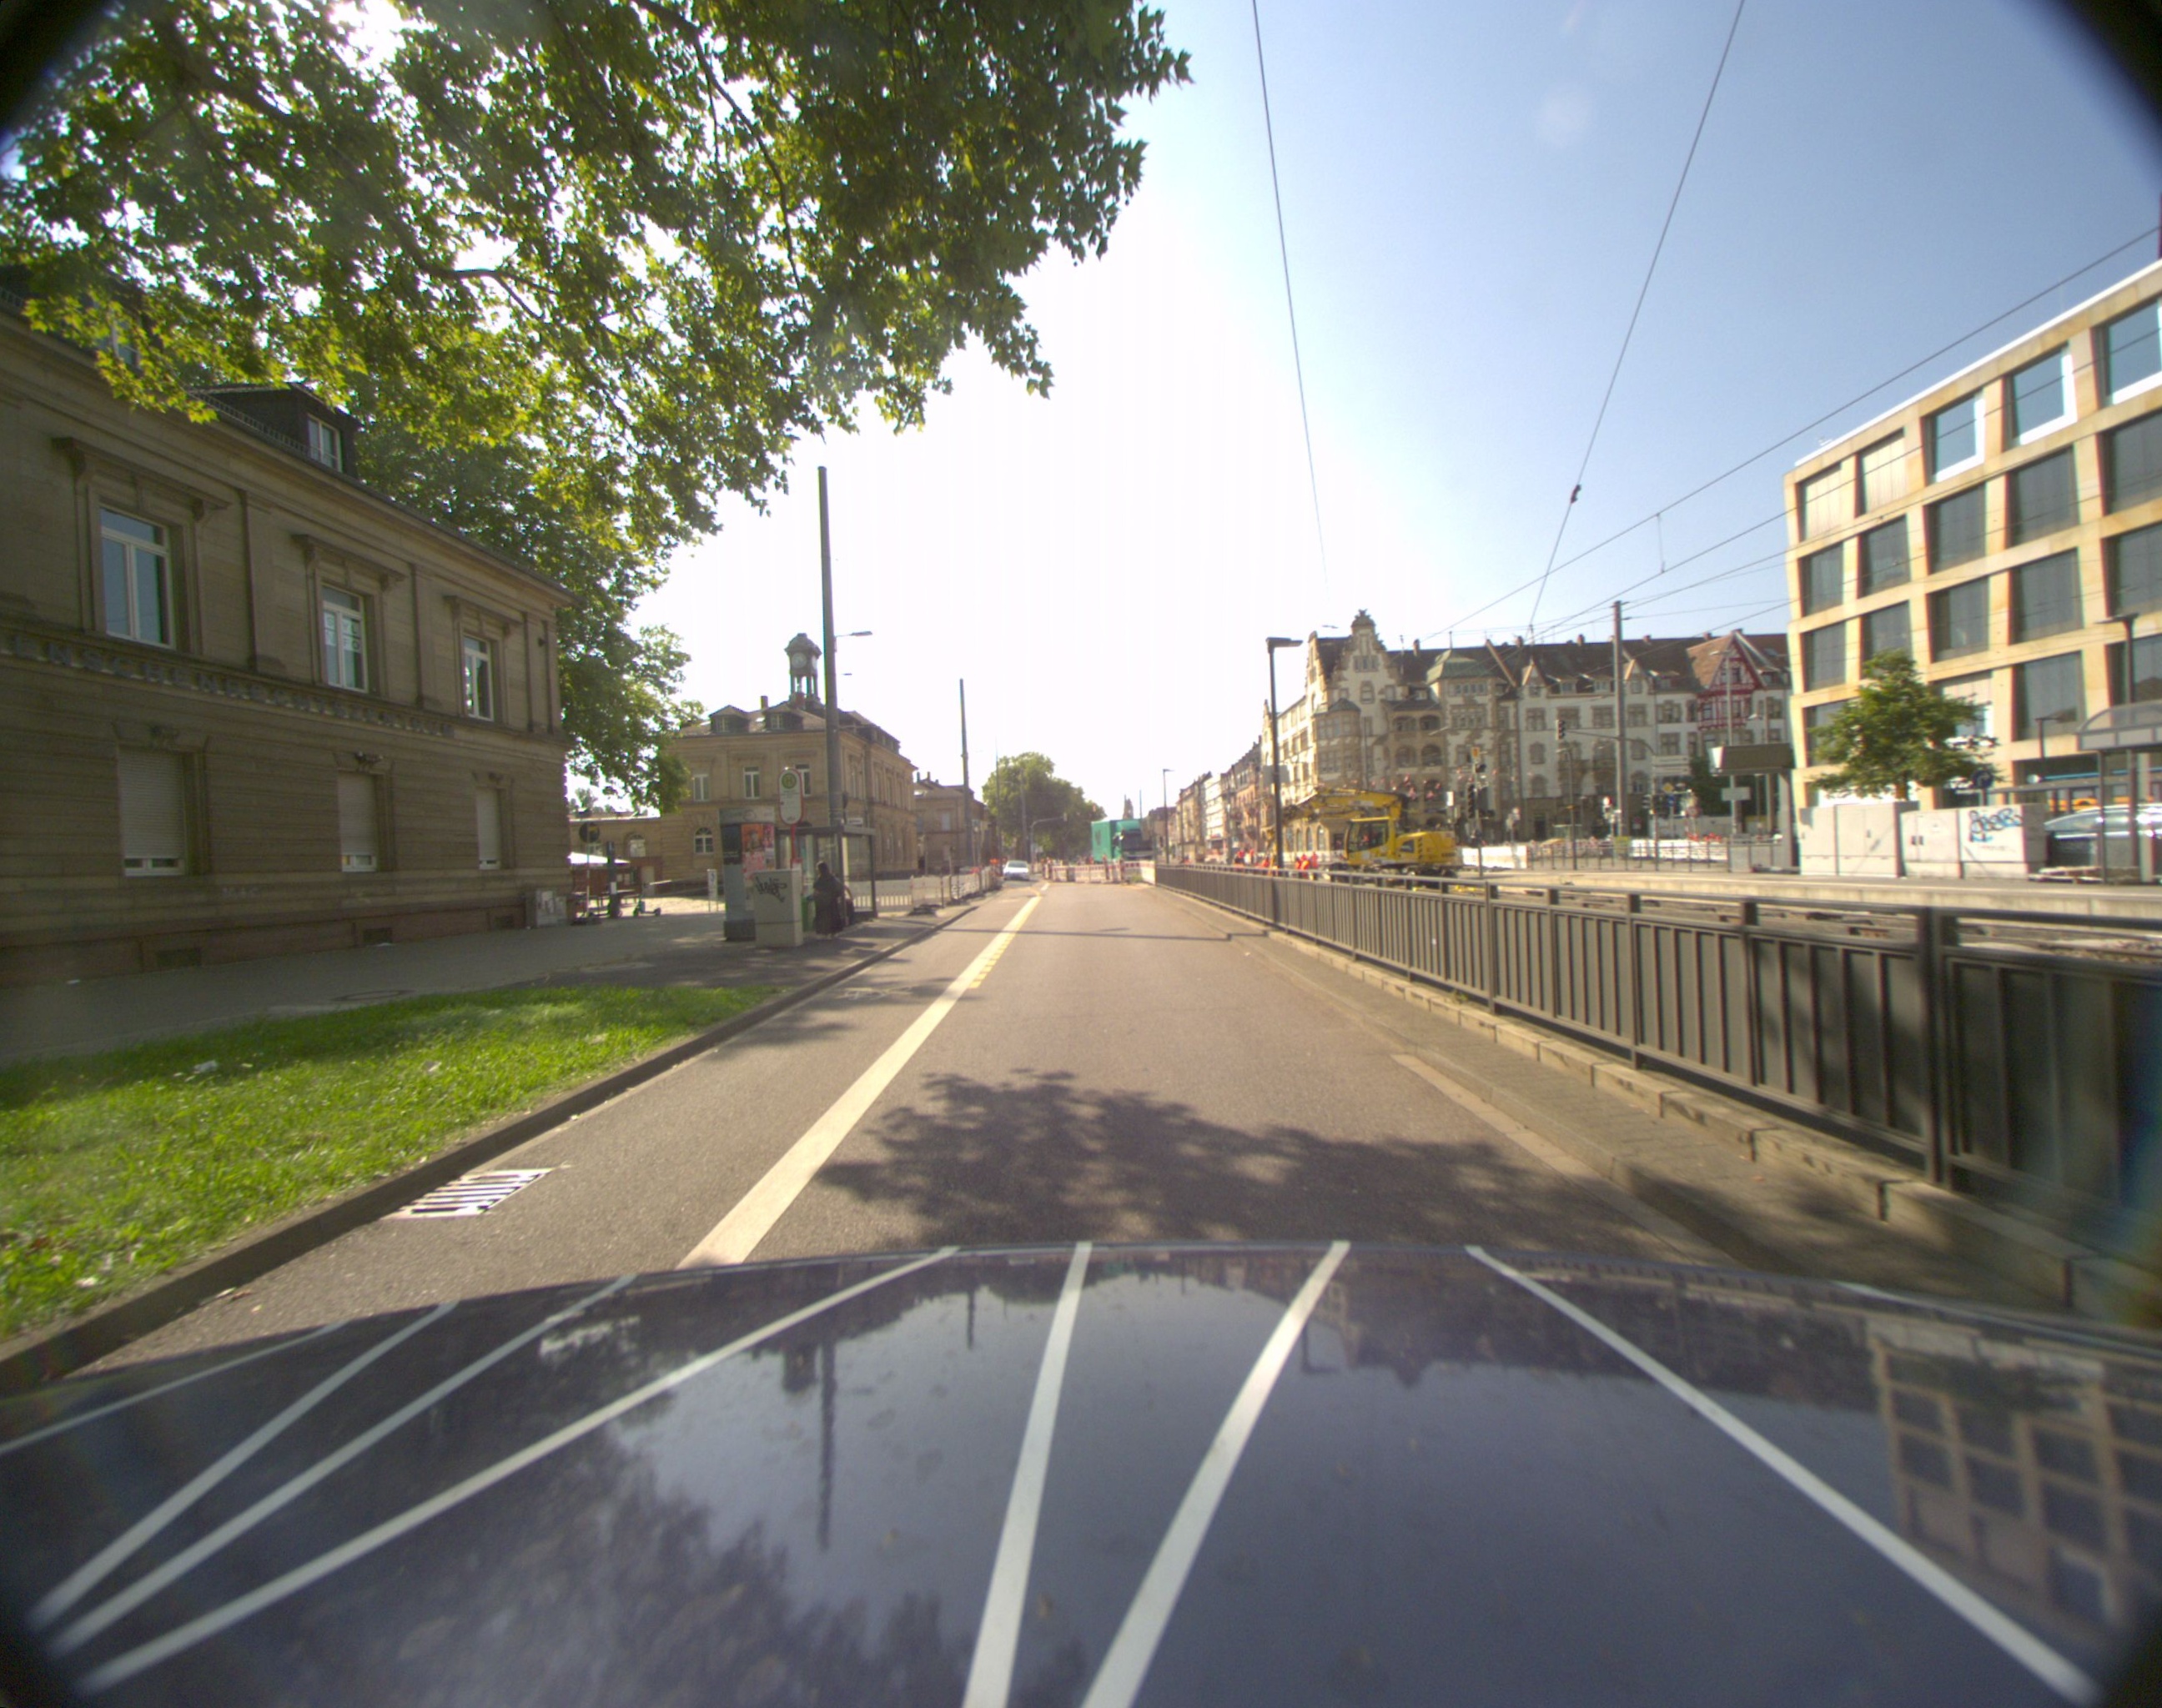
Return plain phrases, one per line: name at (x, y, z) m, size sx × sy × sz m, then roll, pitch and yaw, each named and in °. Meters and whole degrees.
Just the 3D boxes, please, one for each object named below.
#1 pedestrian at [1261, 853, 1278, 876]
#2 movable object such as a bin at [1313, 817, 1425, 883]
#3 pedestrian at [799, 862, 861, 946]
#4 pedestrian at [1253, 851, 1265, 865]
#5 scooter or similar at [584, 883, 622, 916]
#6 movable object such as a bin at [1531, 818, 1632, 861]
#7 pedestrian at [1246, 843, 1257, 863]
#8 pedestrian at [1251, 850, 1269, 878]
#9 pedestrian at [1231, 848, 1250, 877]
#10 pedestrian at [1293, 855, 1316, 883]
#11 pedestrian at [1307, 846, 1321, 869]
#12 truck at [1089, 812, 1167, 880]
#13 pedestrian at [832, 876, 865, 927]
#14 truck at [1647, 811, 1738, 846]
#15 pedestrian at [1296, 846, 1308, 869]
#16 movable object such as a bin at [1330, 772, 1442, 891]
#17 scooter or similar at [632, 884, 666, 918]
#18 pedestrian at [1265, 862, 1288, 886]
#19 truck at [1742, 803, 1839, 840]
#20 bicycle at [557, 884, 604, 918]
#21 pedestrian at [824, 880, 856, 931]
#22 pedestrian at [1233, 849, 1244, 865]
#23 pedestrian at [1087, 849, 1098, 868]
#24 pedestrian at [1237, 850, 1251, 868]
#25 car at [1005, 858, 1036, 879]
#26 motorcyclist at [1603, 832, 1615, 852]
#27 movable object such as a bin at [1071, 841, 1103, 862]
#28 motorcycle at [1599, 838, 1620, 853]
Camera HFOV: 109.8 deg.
pedestrian at (9.543, 0.529, 38.538) m, size 0.701 × 1.171 × 0.703 m, roll -2°, pitch 0°, yaw 21°
movable object such as a bin at (15.121, -0.215, 40.147) m, size 4.127 × 3.204 × 3.564 m, roll -2°, pitch 0°, yaw -15°
pedestrian at (-5.075, 0.985, 15.358) m, size 0.886 × 1.616 × 0.820 m, roll -2°, pitch 0°, yaw -38°
pedestrian at (14.945, 0.322, 63.698) m, size 0.732 × 1.177 × 0.866 m, roll 0°, pitch 2°, yaw -7°
scooter or similar at (-17.264, 1.638, 27.436) m, size 1.094 × 1.126 × 0.312 m, roll -2°, pitch 1°, yaw -3°
movable object such as a bin at (35.792, -1.052, 54.480) m, size 5.515 × 2.774 × 2.490 m, roll -3°, pitch 2°, yaw 1°
pedestrian at (14.134, -0.086, 63.053) m, size 0.752 × 1.692 × 0.678 m, roll -2°, pitch 0°, yaw 0°
pedestrian at (8.850, 0.497, 37.599) m, size 0.701 × 1.327 × 0.838 m, roll -2°, pitch 0°, yaw 21°
pedestrian at (8.187, 0.442, 38.989) m, size 0.741 × 1.470 × 0.704 m, roll -2°, pitch 0°, yaw 23°
pedestrian at (9.528, 0.635, 32.412) m, size 0.701 × 1.148 × 0.589 m, roll -2°, pitch 0°, yaw 40°
pedestrian at (17.551, 0.226, 57.173) m, size 0.741 × 1.692 × 0.758 m, roll -2°, pitch 0°, yaw -1°
truck at (2.700, -0.438, 47.168) m, size 2.817 × 3.766 × 9.008 m, roll -1°, pitch 0°, yaw -9°
pedestrian at (-6.015, 1.210, 19.671) m, size 0.610 × 1.270 × 0.759 m, roll -1°, pitch 0°, yaw -2°
truck at (55.188, -2.302, 68.625) m, size 6.037 × 2.798 × 2.691 m, roll -2°, pitch 0°, yaw -2°
pedestrian at (16.629, 0.251, 57.235) m, size 0.740 × 1.692 × 0.760 m, roll -2°, pitch 0°, yaw 20°
movable object such as a bin at (12.598, -0.874, 31.795) m, size 2.994 × 4.527 × 4.212 m, roll -2°, pitch 0°, yaw 3°
scooter or similar at (-15.766, 1.694, 27.744) m, size 0.409 × 1.159 × 1.226 m, roll -2°, pitch 0°, yaw 5°
pedestrian at (8.110, 0.811, 31.561) m, size 0.702 × 0.949 × 0.882 m, roll -2°, pitch 0°, yaw 1°
truck at (64.326, -2.930, 68.974) m, size 6.353 × 3.026 × 2.631 m, roll -2°, pitch 0°, yaw -3°
bicycle at (-18.580, 1.724, 28.251) m, size 0.499 × 1.159 × 1.629 m, roll -2°, pitch 0°, yaw 5°
pedestrian at (-5.972, 1.261, 18.854) m, size 0.610 × 1.211 × 0.574 m, roll -1°, pitch 0°, yaw -2°
pedestrian at (12.662, 0.269, 61.035) m, size 0.678 × 1.239 × 0.547 m, roll -2°, pitch 0°, yaw -1°
pedestrian at (1.121, 0.410, 73.695) m, size 0.921 × 1.830 × 0.801 m, roll -2°, pitch 0°, yaw -6°
pedestrian at (13.724, 0.427, 63.971) m, size 0.754 × 1.547 × 0.735 m, roll -2°, pitch 1°, yaw -42°
car at (-4.466, 1.047, 56.348) m, size 1.844 × 1.451 × 4.000 m, roll -2°, pitch 0°, yaw 1°
motorcyclist at (31.954, -0.716, 45.970) m, size 0.517 × 1.172 × 0.430 m, roll 0°, pitch 2°, yaw -32°
movable object such as a bin at (0.665, -0.271, 90.626) m, size 3.173 × 2.395 × 2.915 m, roll 0°, pitch 2°, yaw -15°
motorcycle at (31.987, -0.501, 45.984) m, size 1.637 × 0.873 × 0.430 m, roll 0°, pitch 2°, yaw -33°
